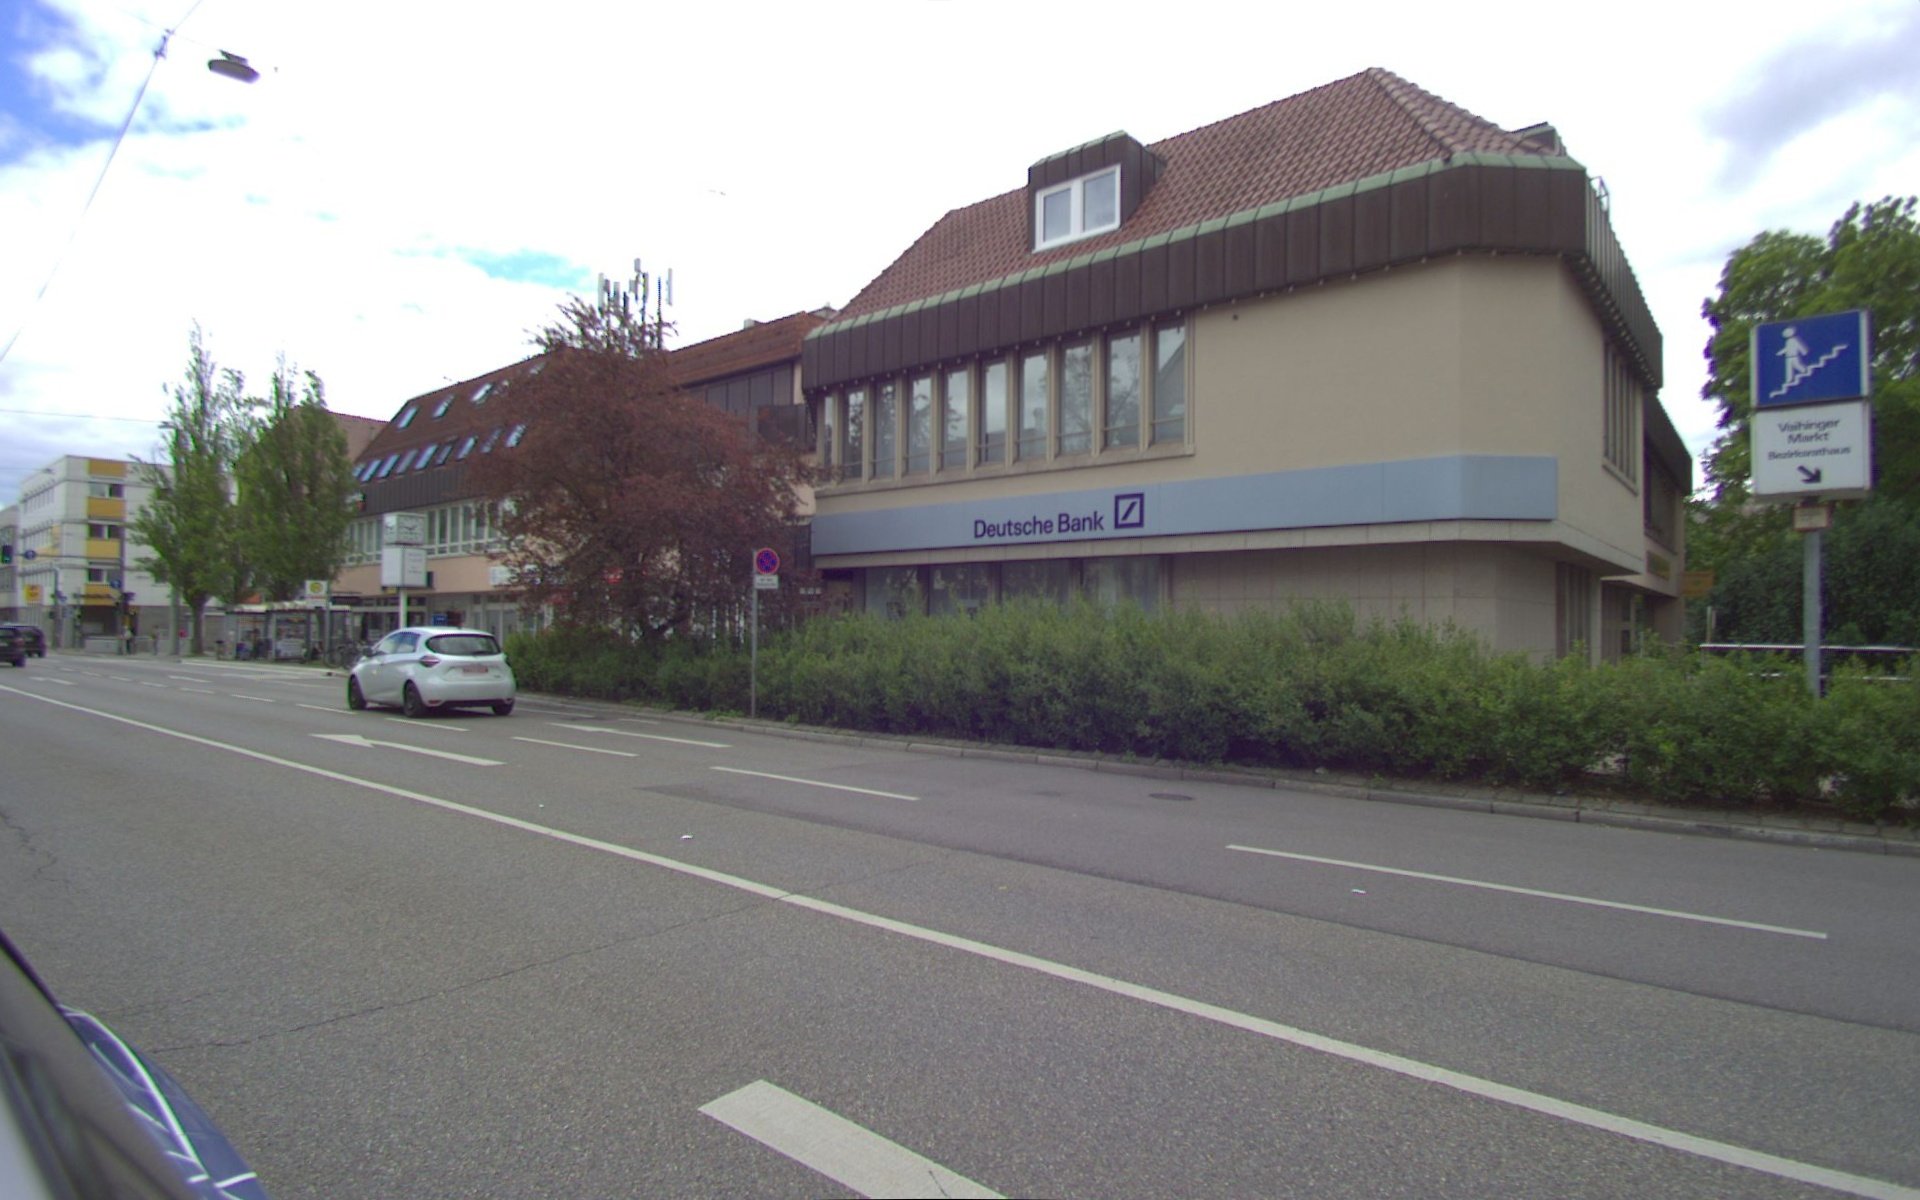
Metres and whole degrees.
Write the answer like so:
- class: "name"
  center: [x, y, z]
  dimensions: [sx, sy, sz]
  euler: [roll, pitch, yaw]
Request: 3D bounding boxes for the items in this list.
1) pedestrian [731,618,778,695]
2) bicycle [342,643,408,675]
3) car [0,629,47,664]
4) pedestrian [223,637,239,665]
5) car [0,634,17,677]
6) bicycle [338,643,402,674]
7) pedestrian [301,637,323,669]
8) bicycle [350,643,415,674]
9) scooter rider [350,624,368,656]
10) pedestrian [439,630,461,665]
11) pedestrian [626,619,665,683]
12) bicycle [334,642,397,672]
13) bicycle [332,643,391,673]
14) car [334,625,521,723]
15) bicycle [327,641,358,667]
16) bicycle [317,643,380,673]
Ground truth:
- class: "pedestrian"
  center: [-4.911, 1.339, 24.152]
  dimensions: [0.754, 1.777, 0.719]
  euler: [-2, 0, 38]
- class: "bicycle"
  center: [-20.955, 2.112, 36.302]
  dimensions: [0.646, 1.098, 2.003]
  euler: [-1, -2, 30]
- class: "car"
  center: [-49.506, 2.410, 52.876]
  dimensions: [4.691, 1.752, 2.047]
  euler: [-2, -5, 41]
- class: "pedestrian"
  center: [-43.206, 3.012, 59.956]
  dimensions: [0.614, 1.647, 0.580]
  euler: [-2, 0, 38]
- class: "car"
  center: [-36.241, 2.034, 37.499]
  dimensions: [2.959, 1.552, 1.554]
  euler: [-2, -4, 41]
- class: "bicycle"
  center: [-21.916, 2.170, 37.620]
  dimensions: [0.646, 1.098, 2.003]
  euler: [-1, -2, 30]
- class: "pedestrian"
  center: [-28.448, 2.319, 44.450]
  dimensions: [0.588, 1.374, 0.704]
  euler: [-3, -3, 42]
- class: "bicycle"
  center: [-21.274, 2.127, 37.306]
  dimensions: [0.646, 1.098, 2.003]
  euler: [-1, -2, 30]
- class: "scooter rider"
  center: [-32.795, 2.193, 55.228]
  dimensions: [0.587, 1.725, 0.607]
  euler: [-2, 0, 37]
- class: "pedestrian"
  center: [-23.047, 2.132, 45.707]
  dimensions: [0.587, 1.559, 0.704]
  euler: [-3, -3, 39]
- class: "pedestrian"
  center: [-9.108, 1.455, 29.267]
  dimensions: [0.756, 1.777, 0.717]
  euler: [-2, 1, 44]
- class: "bicycle"
  center: [-22.660, 2.160, 38.612]
  dimensions: [0.646, 1.098, 2.003]
  euler: [-1, -2, 30]
- class: "bicycle"
  center: [-23.810, 2.300, 40.319]
  dimensions: [0.645, 1.098, 2.006]
  euler: [-1, -2, 26]
- class: "car"
  center: [-9.640, 1.272, 18.203]
  dimensions: [3.924, 1.580, 1.623]
  euler: [-2, -4, 41]
- class: "bicycle"
  center: [-27.037, 2.365, 44.312]
  dimensions: [1.928, 1.098, 0.528]
  euler: [-2, -2, 38]
- class: "bicycle"
  center: [-23.613, 2.229, 39.112]
  dimensions: [0.647, 1.098, 2.000]
  euler: [-2, -2, 35]
